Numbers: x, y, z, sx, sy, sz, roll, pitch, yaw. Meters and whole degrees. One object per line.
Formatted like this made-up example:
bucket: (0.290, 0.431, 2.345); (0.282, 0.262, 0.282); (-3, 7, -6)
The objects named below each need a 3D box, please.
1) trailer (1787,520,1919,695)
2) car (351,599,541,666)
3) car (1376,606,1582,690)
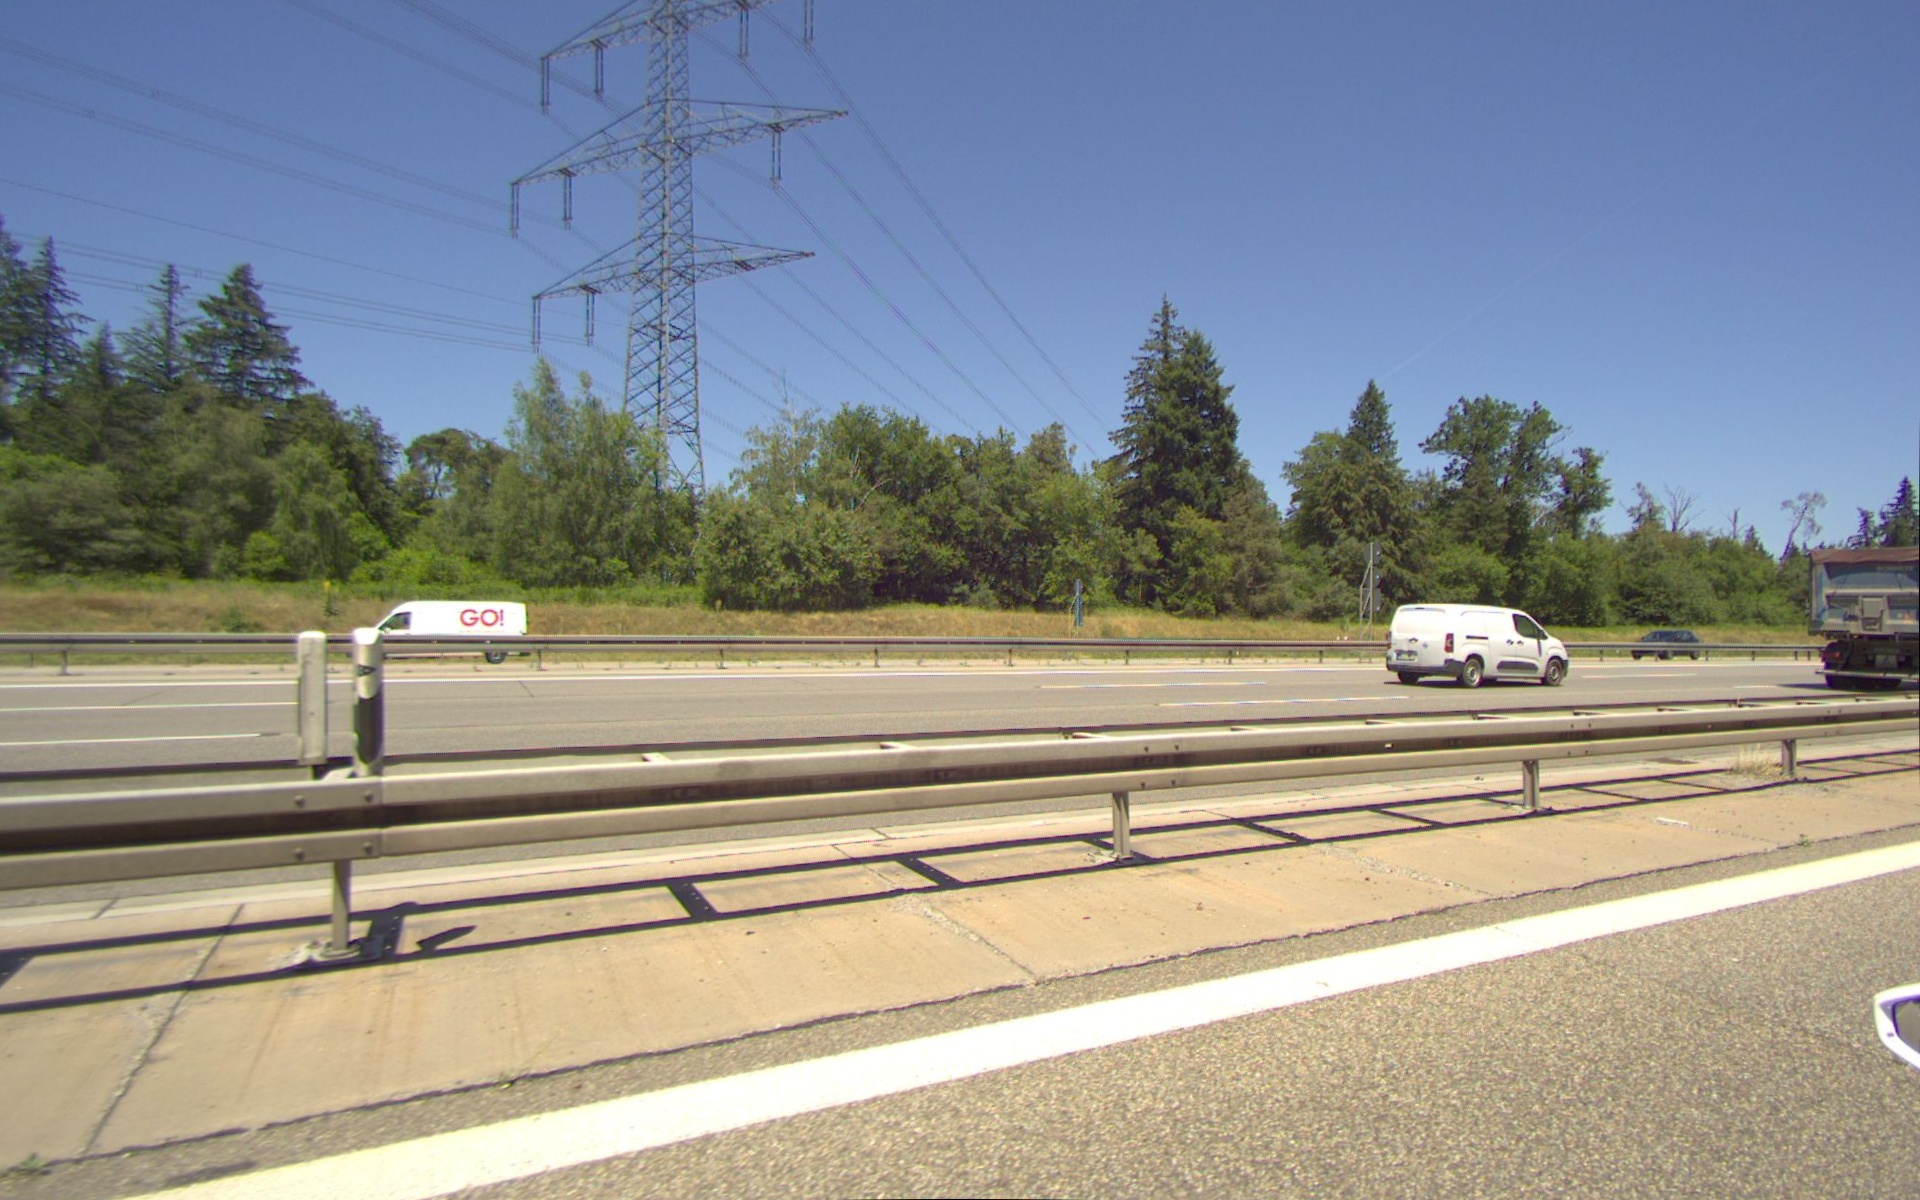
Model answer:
trailer: (24.924, 0.259, 25.407); (9.762, 3.858, 2.760); (1, -1, -29)
car: (-21.303, 1.375, 41.927); (6.826, 2.577, 1.986); (3, -1, -28)
car: (12.068, 1.098, 23.254); (4.957, 1.777, 1.765); (2, -1, -28)
